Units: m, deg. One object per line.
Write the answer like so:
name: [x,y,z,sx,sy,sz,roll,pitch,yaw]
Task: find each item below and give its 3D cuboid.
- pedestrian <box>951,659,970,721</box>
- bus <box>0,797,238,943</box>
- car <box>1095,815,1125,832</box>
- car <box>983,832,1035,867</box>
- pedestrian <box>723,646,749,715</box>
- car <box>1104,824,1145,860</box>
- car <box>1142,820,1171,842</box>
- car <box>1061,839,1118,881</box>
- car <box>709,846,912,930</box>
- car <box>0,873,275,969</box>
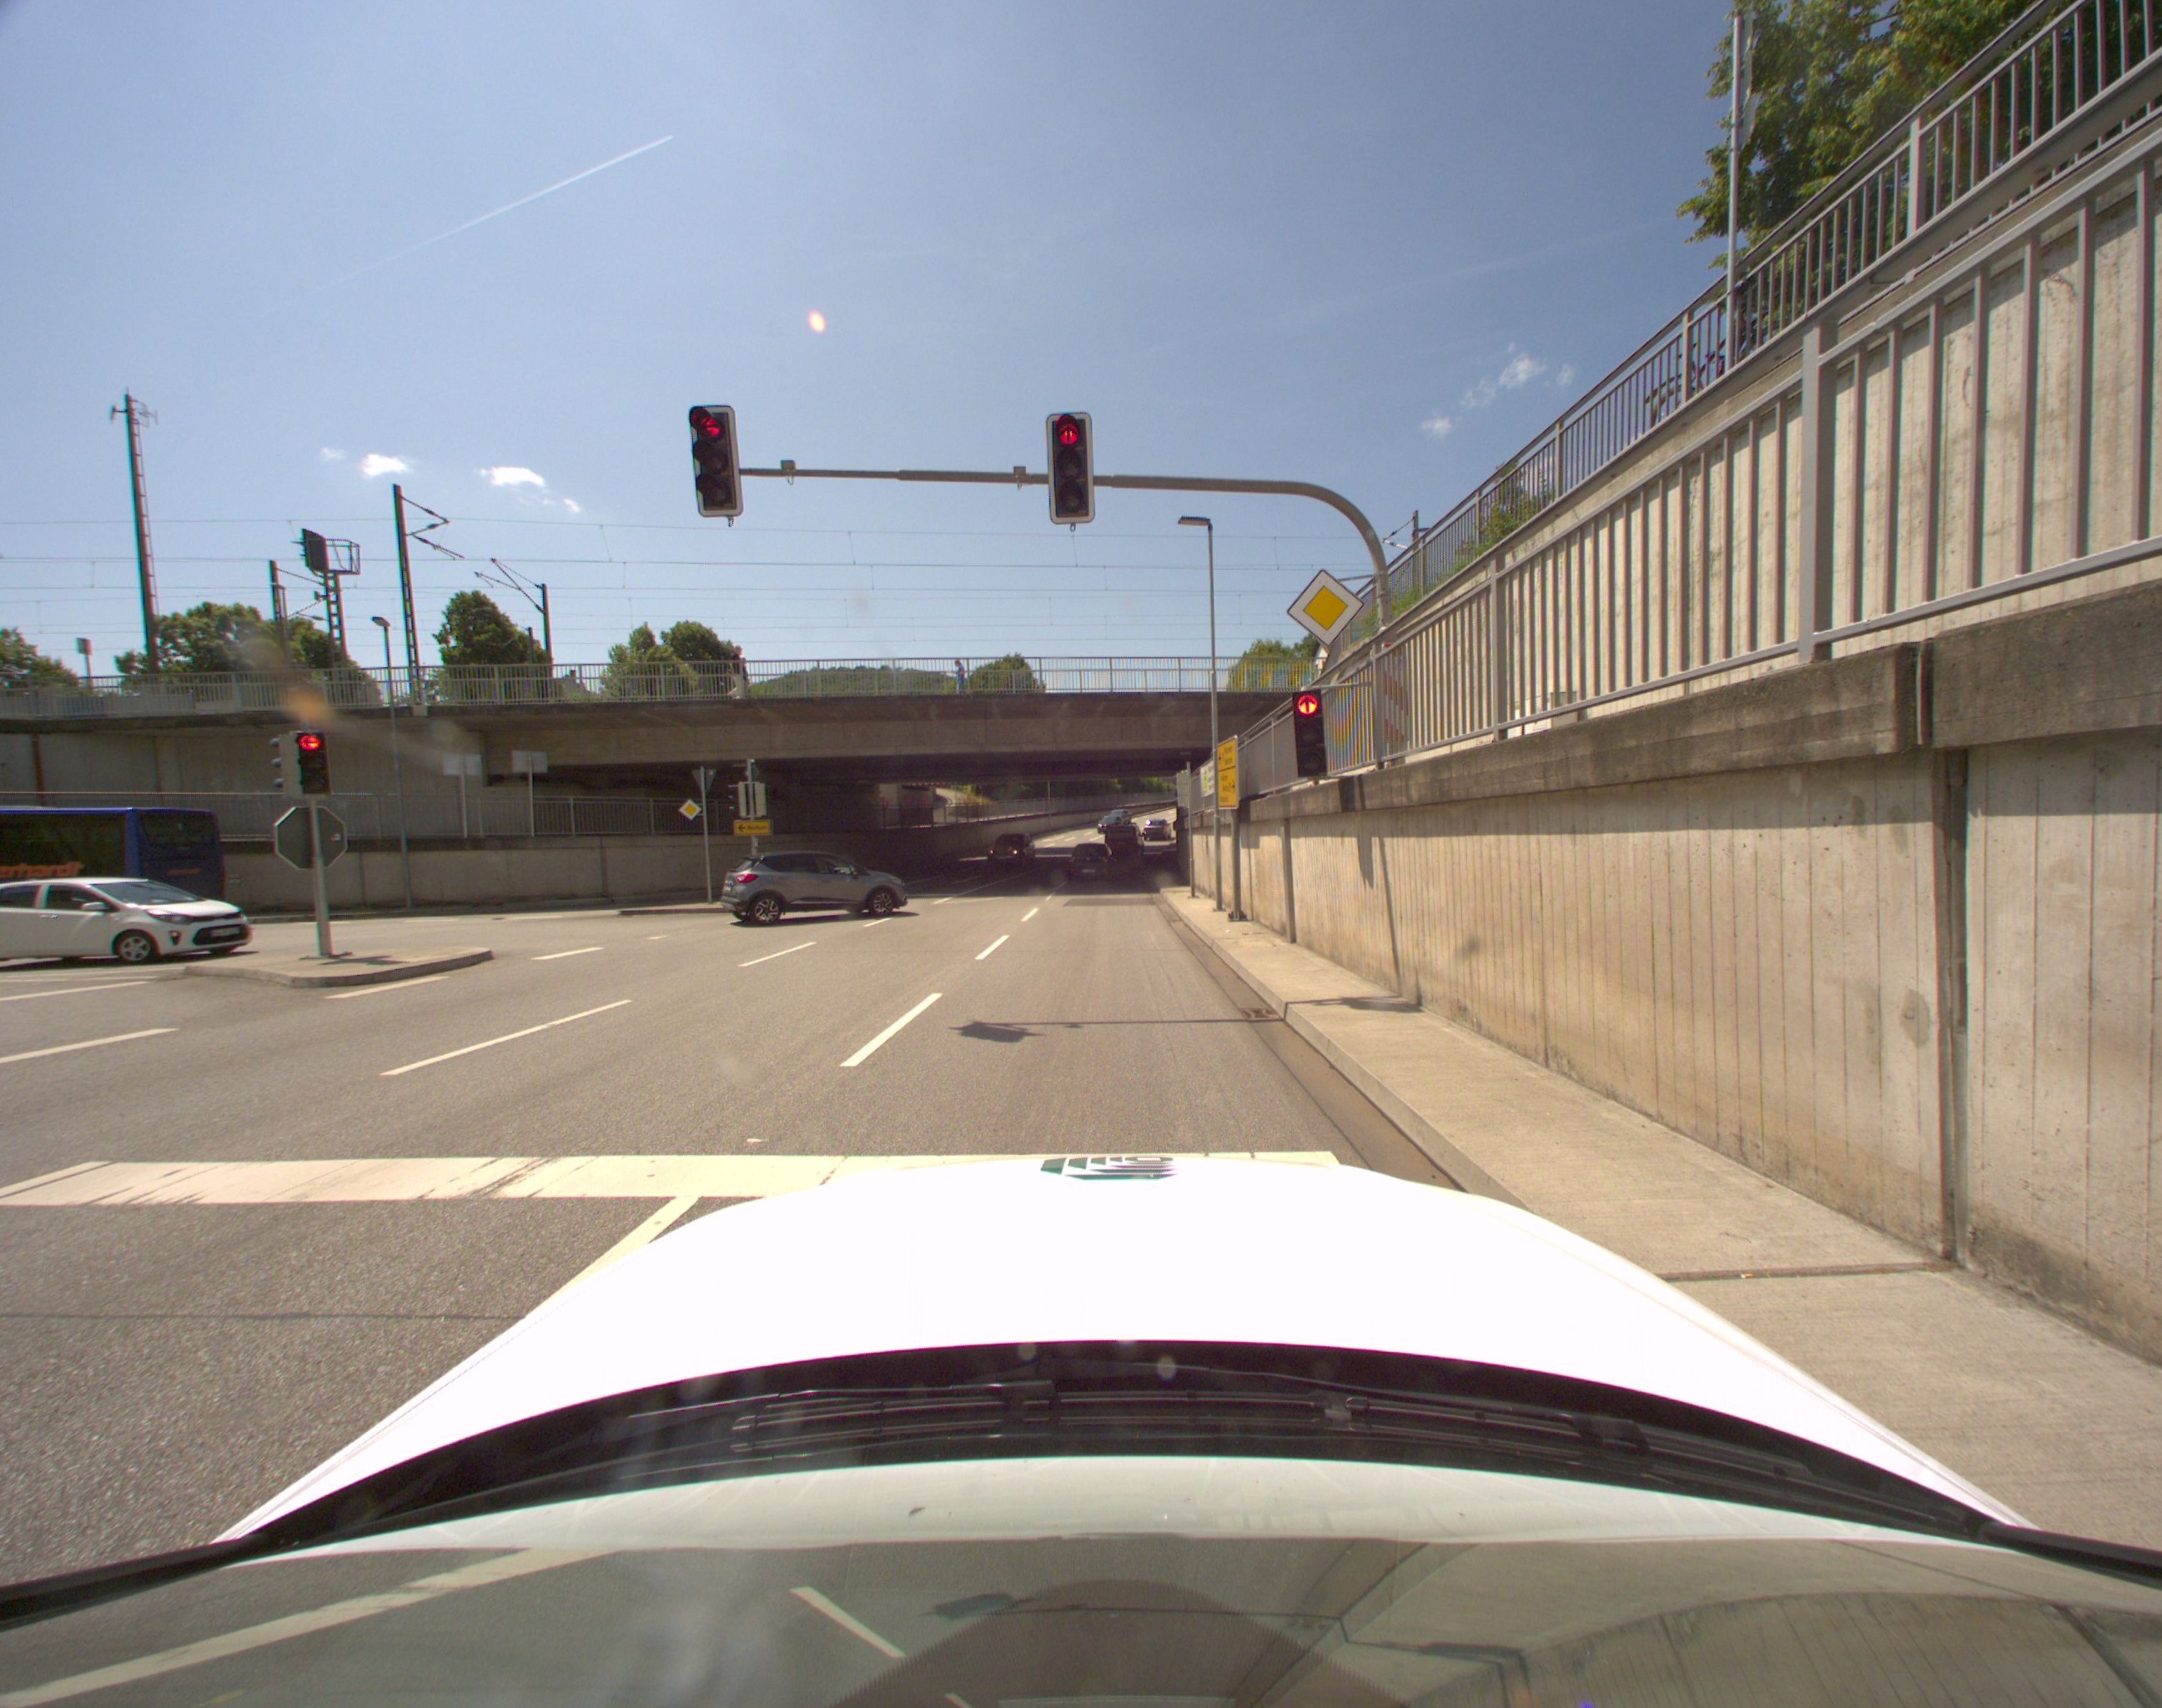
pedestrian: [-4.291,-5.826,28.979,0.538,2.081,0.534,-2,0,-5]
bus: [-27.488,0.435,18.185,12.355,3.172,2.577,-2,2,-15]
car: [2.560,-2.644,71.035,1.768,1.436,4.017,-1,2,15]
car: [-3.618,-0.263,41.810,1.984,1.627,4.006,-1,2,4]
pedestrian: [-11.074,-5.553,26.118,0.576,2.081,0.533,-2,0,-9]
car: [2.583,-0.757,47.014,1.862,1.932,4.731,-1,2,8]
car: [5.847,-1.793,62.535,1.792,1.617,4.013,-1,2,11]
car: [0.406,0.206,33.017,1.984,1.508,4.006,-1,2,5]
car: [-6.209,0.675,18.869,4.019,1.588,1.978,-3,3,-37]
car: [-17.272,1.157,14.427,3.981,1.420,1.728,-1,2,-6]
